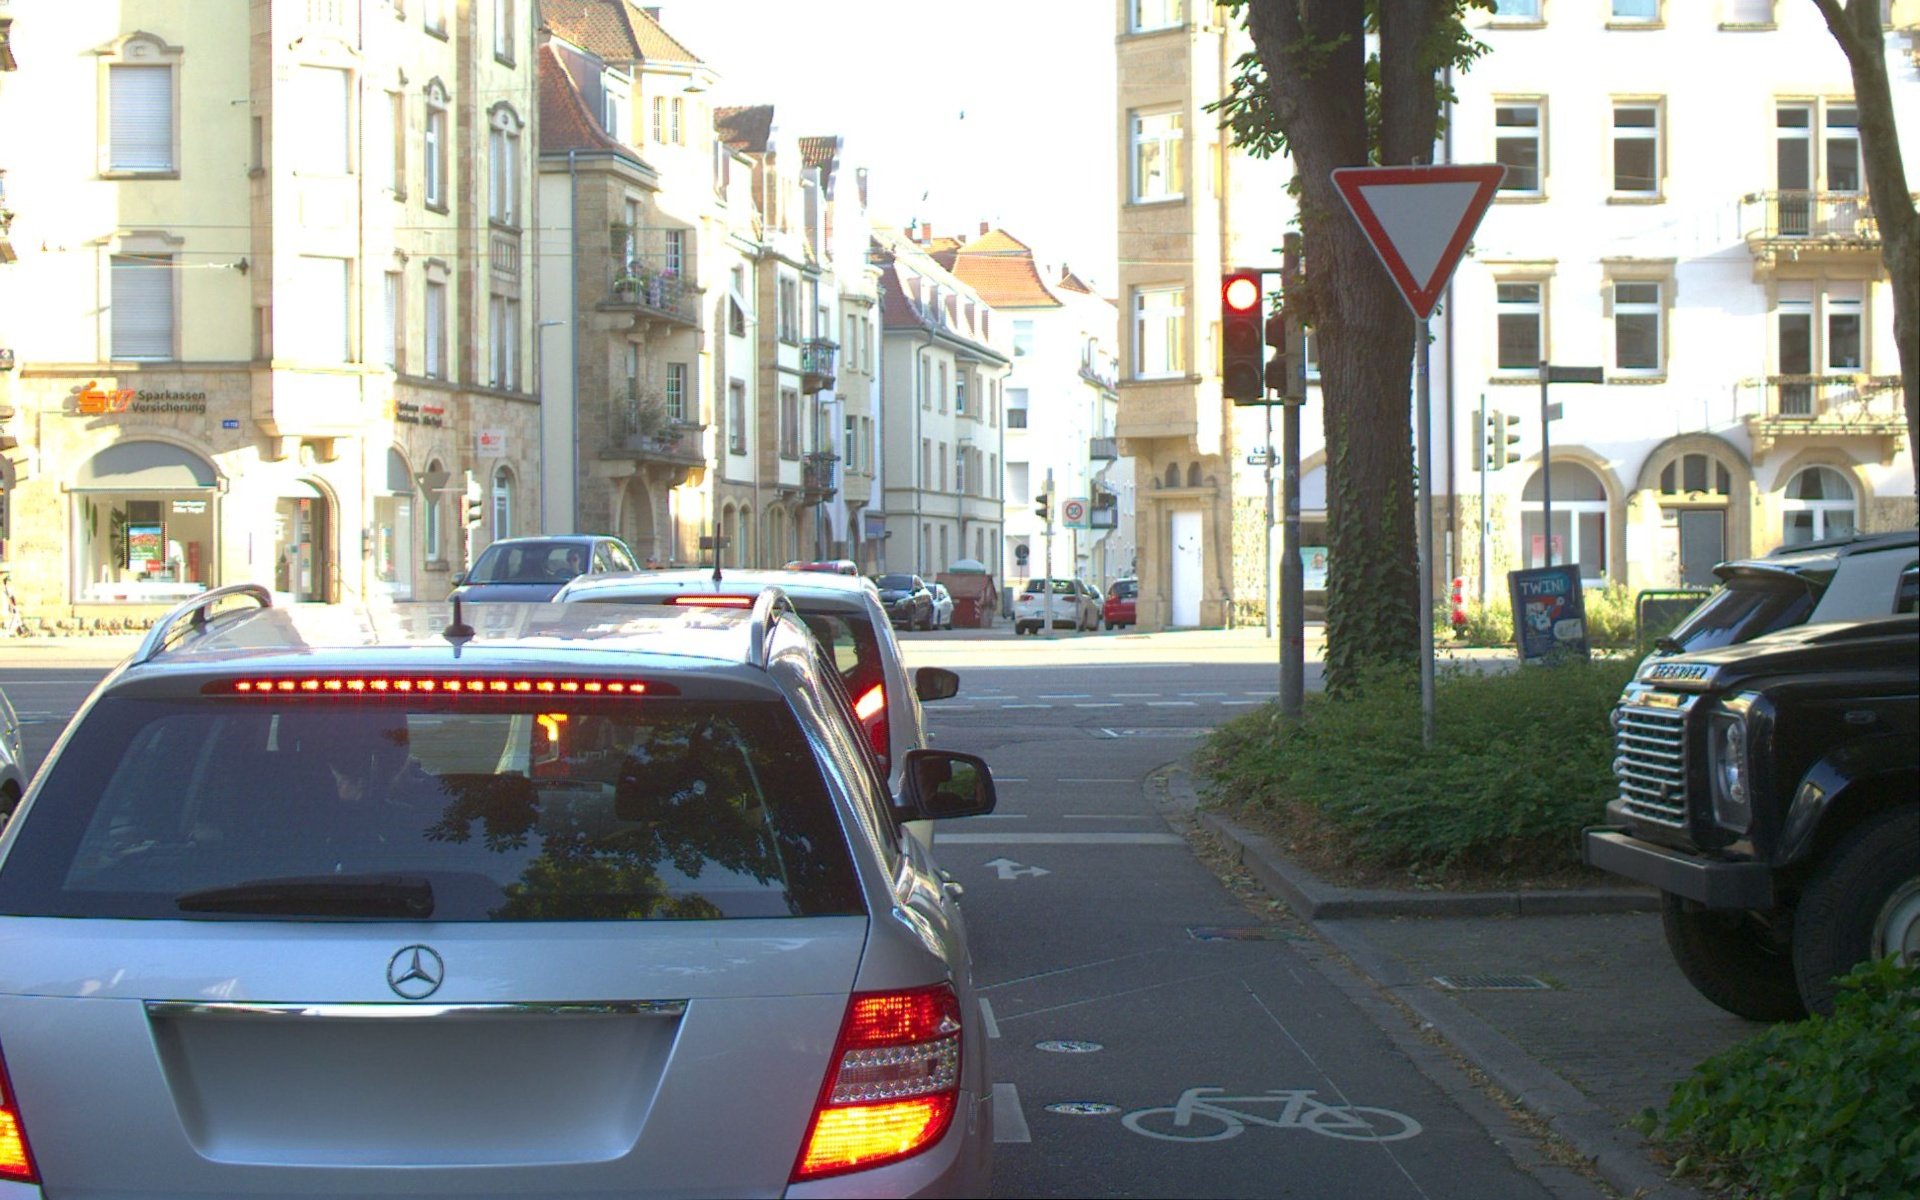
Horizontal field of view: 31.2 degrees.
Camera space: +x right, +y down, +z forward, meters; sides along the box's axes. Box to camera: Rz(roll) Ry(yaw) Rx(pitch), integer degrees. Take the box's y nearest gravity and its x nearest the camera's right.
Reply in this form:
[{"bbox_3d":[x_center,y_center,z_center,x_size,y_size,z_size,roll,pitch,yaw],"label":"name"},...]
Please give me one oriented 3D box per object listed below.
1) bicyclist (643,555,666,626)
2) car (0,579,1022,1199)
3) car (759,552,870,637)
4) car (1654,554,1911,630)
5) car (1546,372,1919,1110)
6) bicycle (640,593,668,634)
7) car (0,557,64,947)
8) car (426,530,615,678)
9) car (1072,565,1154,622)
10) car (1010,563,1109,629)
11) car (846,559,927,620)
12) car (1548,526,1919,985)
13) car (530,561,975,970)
[{"bbox_3d":[-6.514,-0.209,73.313,0.466,1.516,0.694,0,1,-4],"label":"bicyclist"},{"bbox_3d":[-0.866,0.703,6.474,1.690,1.424,3.493,1,1,-3],"label":"car"},{"bbox_3d":[-3.450,-0.151,82.055,1.938,1.952,4.149,0,1,8],"label":"car"},{"bbox_3d":[11.856,-0.124,49.632,3.364,1.065,1.380,0,1,-1],"label":"car"},{"bbox_3d":[4.189,0.288,10.172,4.490,1.949,1.793,-2,1,-3],"label":"car"},{"bbox_3d":[-6.526,0.277,73.314,0.568,0.832,1.566,0,1,-4],"label":"bicycle"},{"bbox_3d":[-4.469,0.626,11.823,1.781,1.457,4.300,-2,1,-3],"label":"car"},{"bbox_3d":[-4.769,0.008,37.724,1.615,1.496,3.592,0,2,0],"label":"car"},{"bbox_3d":[4.562,-0.220,102.065,1.722,1.473,3.998,-4,1,12],"label":"car"},{"bbox_3d":[2.508,-0.117,85.879,1.722,1.473,3.998,-2,1,12],"label":"car"},{"bbox_3d":[-2.175,-0.296,102.422,1.651,1.777,3.861,0,0,11],"label":"car"},{"bbox_3d":[4.191,0.499,13.072,3.480,1.580,1.711,-2,1,-6],"label":"car"},{"bbox_3d":[-0.784,0.555,13.704,1.533,1.386,3.600,0,1,-2],"label":"car"}]
